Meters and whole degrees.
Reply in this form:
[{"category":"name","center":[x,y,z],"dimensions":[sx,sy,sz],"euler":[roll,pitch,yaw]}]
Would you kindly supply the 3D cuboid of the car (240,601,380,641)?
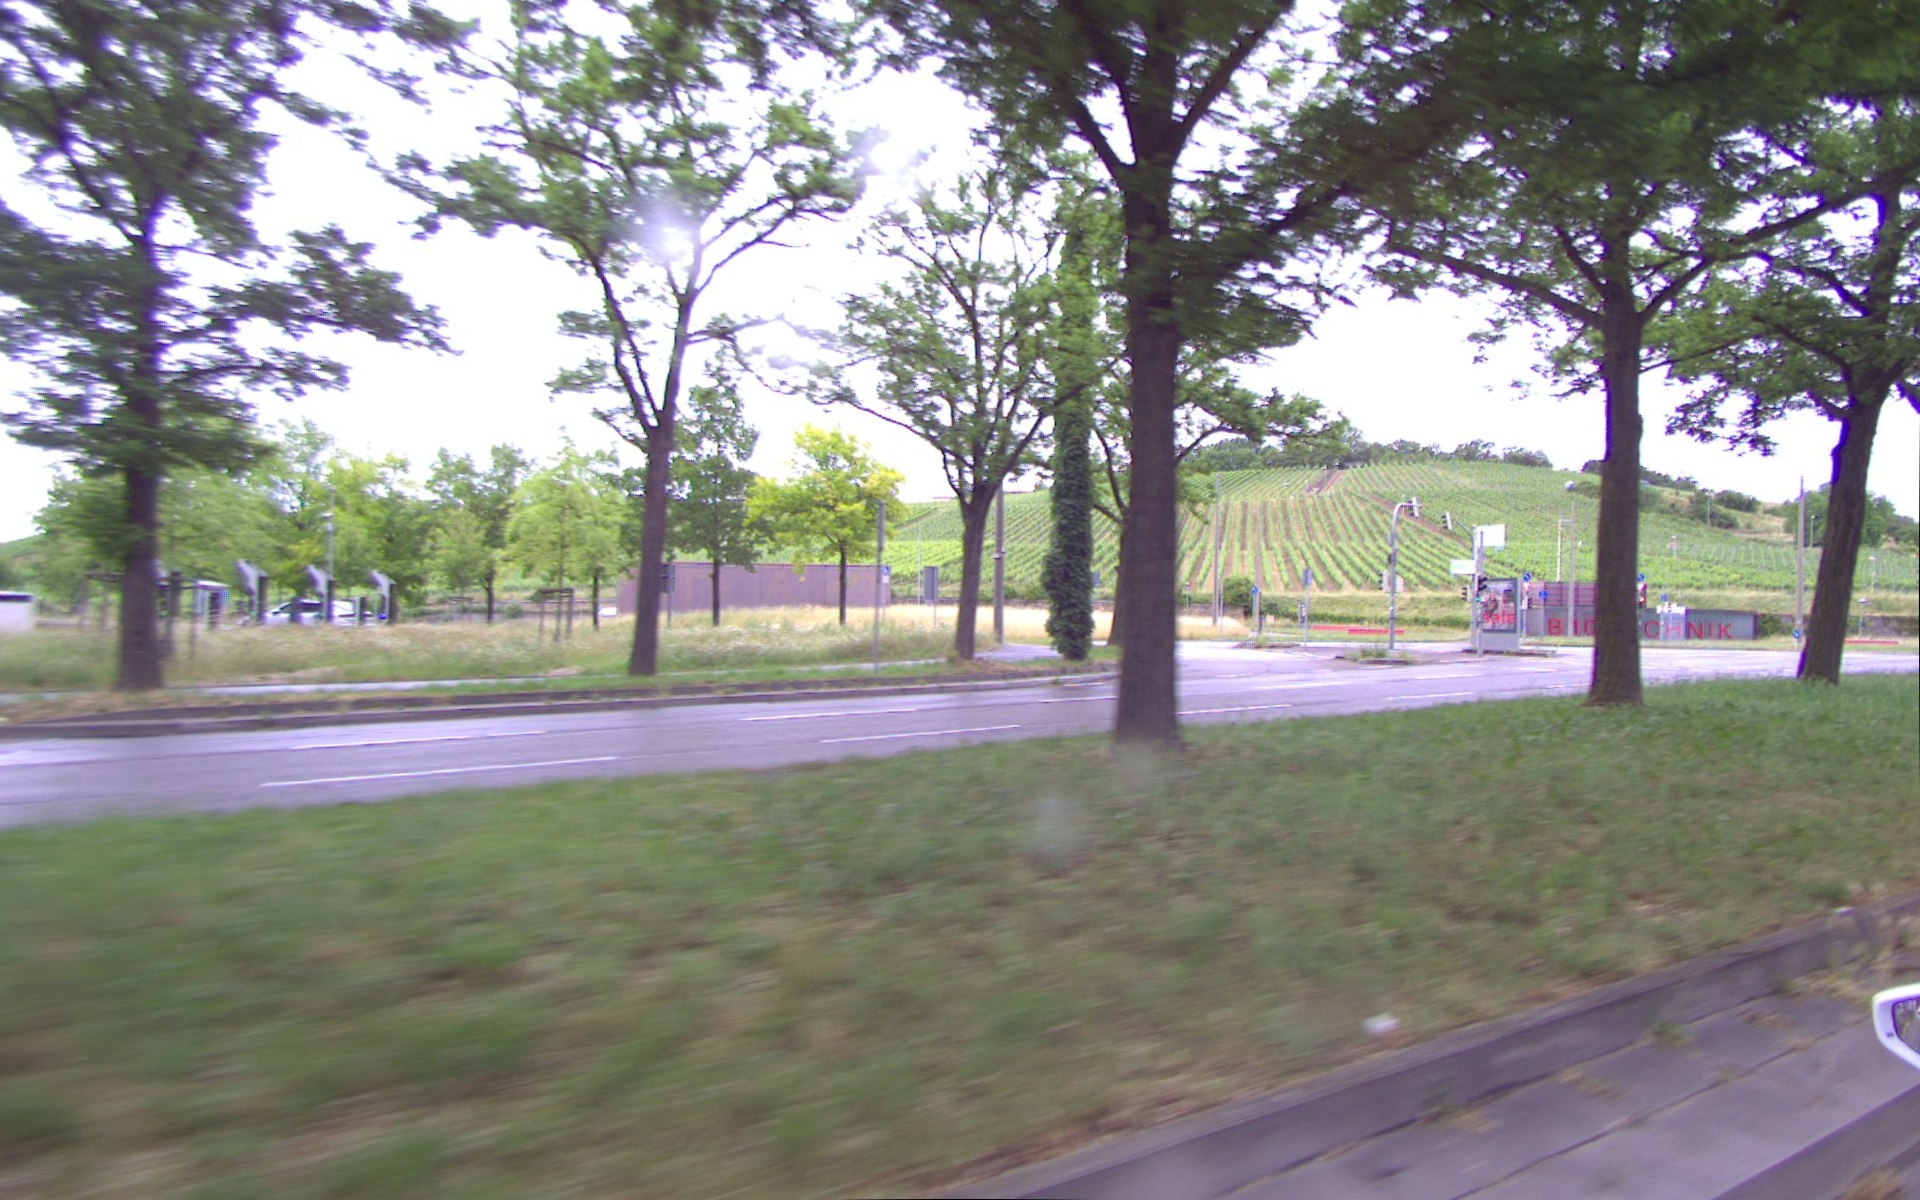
[{"category":"car","center":[-23.696,0.750,36.738],"dimensions":[3.928,1.261,1.617],"euler":[2,1,-9]}]
